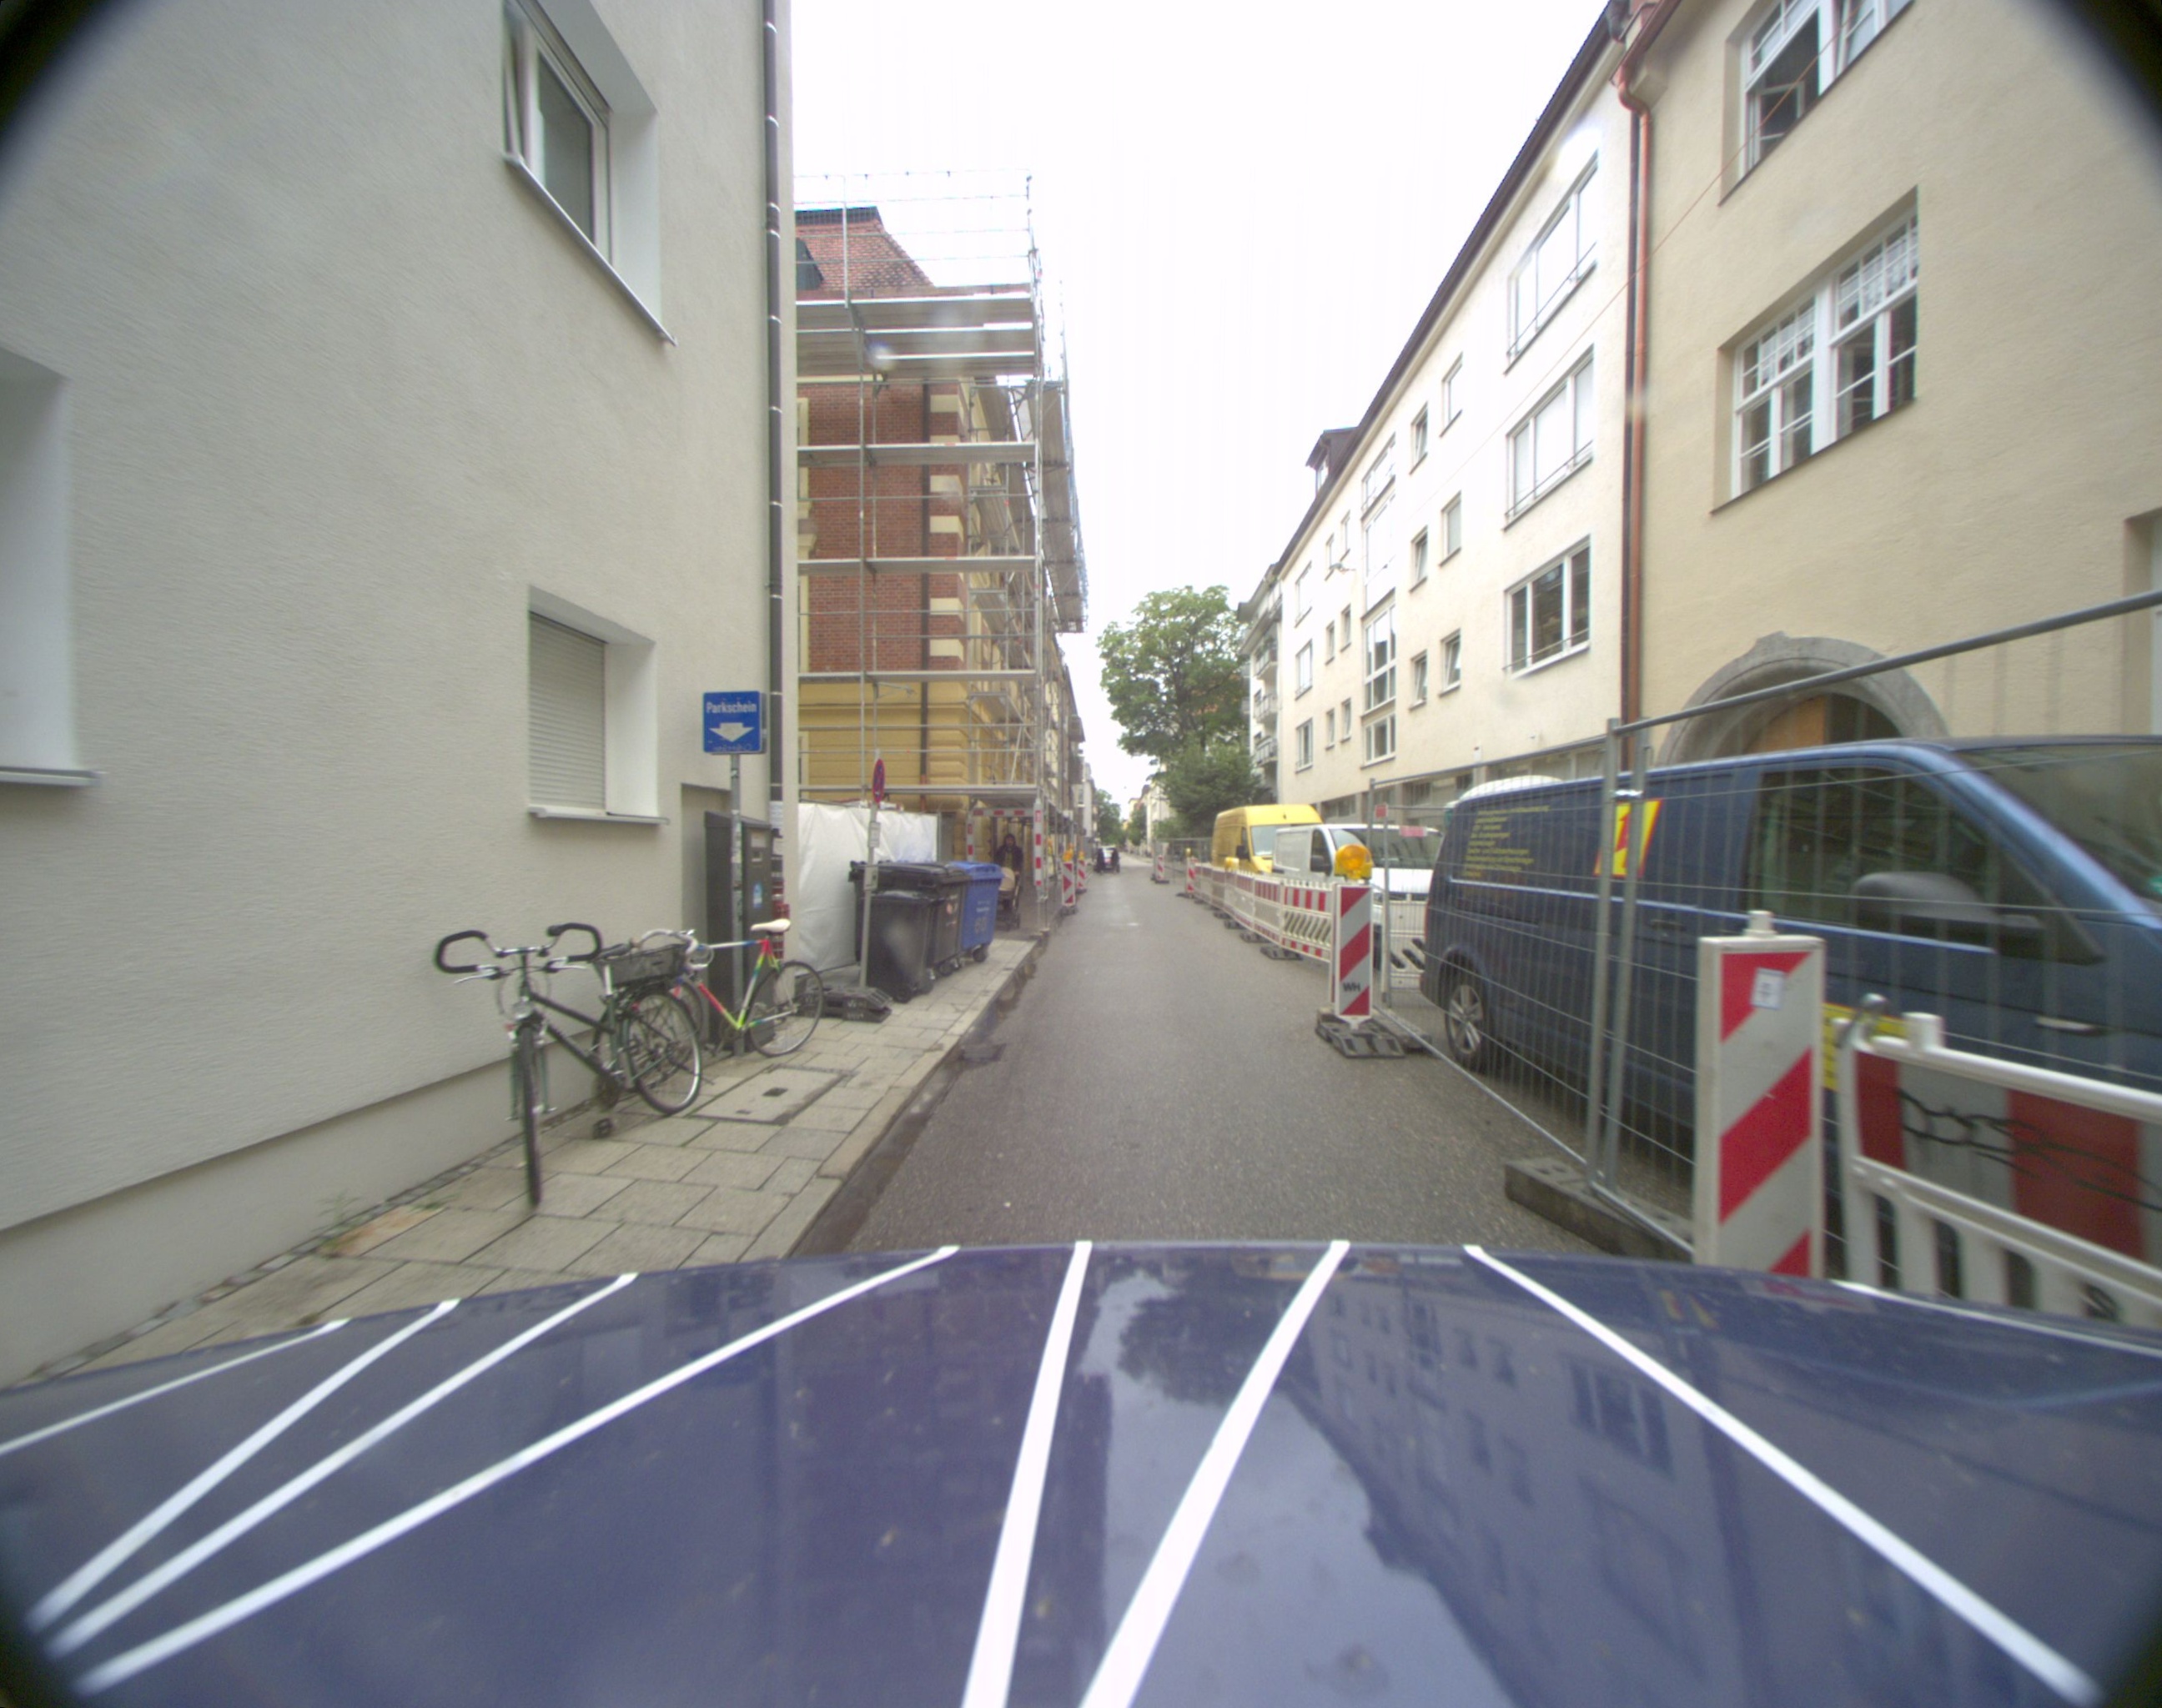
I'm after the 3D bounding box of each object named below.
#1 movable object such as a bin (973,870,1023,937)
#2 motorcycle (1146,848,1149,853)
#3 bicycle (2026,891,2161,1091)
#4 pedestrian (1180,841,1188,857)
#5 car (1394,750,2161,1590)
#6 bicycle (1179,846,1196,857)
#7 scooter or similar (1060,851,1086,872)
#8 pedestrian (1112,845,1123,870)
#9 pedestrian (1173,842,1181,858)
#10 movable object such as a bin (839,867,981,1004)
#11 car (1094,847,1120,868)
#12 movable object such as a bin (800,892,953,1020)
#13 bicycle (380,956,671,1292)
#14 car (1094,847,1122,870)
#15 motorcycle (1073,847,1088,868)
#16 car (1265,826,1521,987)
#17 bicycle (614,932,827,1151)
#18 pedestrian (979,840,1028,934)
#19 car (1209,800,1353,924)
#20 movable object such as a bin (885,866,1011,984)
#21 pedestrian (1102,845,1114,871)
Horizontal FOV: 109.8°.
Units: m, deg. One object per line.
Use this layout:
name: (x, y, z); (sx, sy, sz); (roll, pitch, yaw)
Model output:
movable object such as a bin: (-1.538, 0.903, 14.260); (0.731, 1.134, 0.988); (4, 1, 1)
motorcycle: (12.093, -0.644, 138.060); (0.324, 0.968, 1.961); (-1, 1, 3)
bicycle: (6.793, 0.845, 4.179); (0.382, 1.181, 2.135); (-1, 0, -5)
pedestrian: (11.455, -0.532, 84.296); (0.695, 1.718, 0.841); (-4, 1, 3)
car: (3.380, 0.703, 3.482); (1.731, 1.886, 5.508); (2, 1, 2)
bicycle: (12.166, -0.282, 86.810); (1.811, 1.254, 0.432); (0, 1, 1)
scooter or similar: (-0.479, 0.445, 44.720); (0.493, 1.177, 1.611); (4, 1, 43)
pedestrian: (2.421, 0.225, 50.376); (0.660, 1.676, 0.546); (-1, 1, 8)
pedestrian: (10.677, -0.468, 84.333); (0.721, 1.718, 0.841); (-4, 1, 3)
movable object such as a bin: (-1.892, 0.864, 8.615); (1.128, 1.338, 1.172); (4, 1, 10)
car: (2.053, 0.234, 59.104); (1.772, 1.453, 4.381); (-2, 1, 4)
movable object such as a bin: (-2.030, 0.987, 7.646); (1.213, 1.089, 0.790); (4, 1, 10)
bicycle: (-2.323, 1.053, 3.355); (0.405, 0.986, 1.328); (3, 1, -7)
car: (1.965, 0.266, 53.718); (1.775, 1.515, 4.067); (-2, 1, 4)
motorcycle: (-0.024, 0.241, 54.371); (0.806, 1.415, 1.932); (5, 1, 3)
car: (4.337, 0.600, 11.549); (1.922, 1.886, 4.790); (2, 1, 1)
bicycle: (-2.134, 1.053, 4.689); (0.281, 0.986, 1.435); (4, 1, 15)
pedestrian: (-1.511, 0.614, 14.909); (0.731, 1.742, 0.988); (4, 1, 1)
car: (4.714, 0.129, 19.102); (1.998, 2.564, 6.736); (0, 1, 2)
movable object such as a bin: (-1.683, 0.864, 9.846); (1.087, 1.338, 1.319); (3, 1, 15)
pedestrian: (1.733, 0.250, 48.712); (0.660, 1.676, 0.587); (-2, 1, 8)
